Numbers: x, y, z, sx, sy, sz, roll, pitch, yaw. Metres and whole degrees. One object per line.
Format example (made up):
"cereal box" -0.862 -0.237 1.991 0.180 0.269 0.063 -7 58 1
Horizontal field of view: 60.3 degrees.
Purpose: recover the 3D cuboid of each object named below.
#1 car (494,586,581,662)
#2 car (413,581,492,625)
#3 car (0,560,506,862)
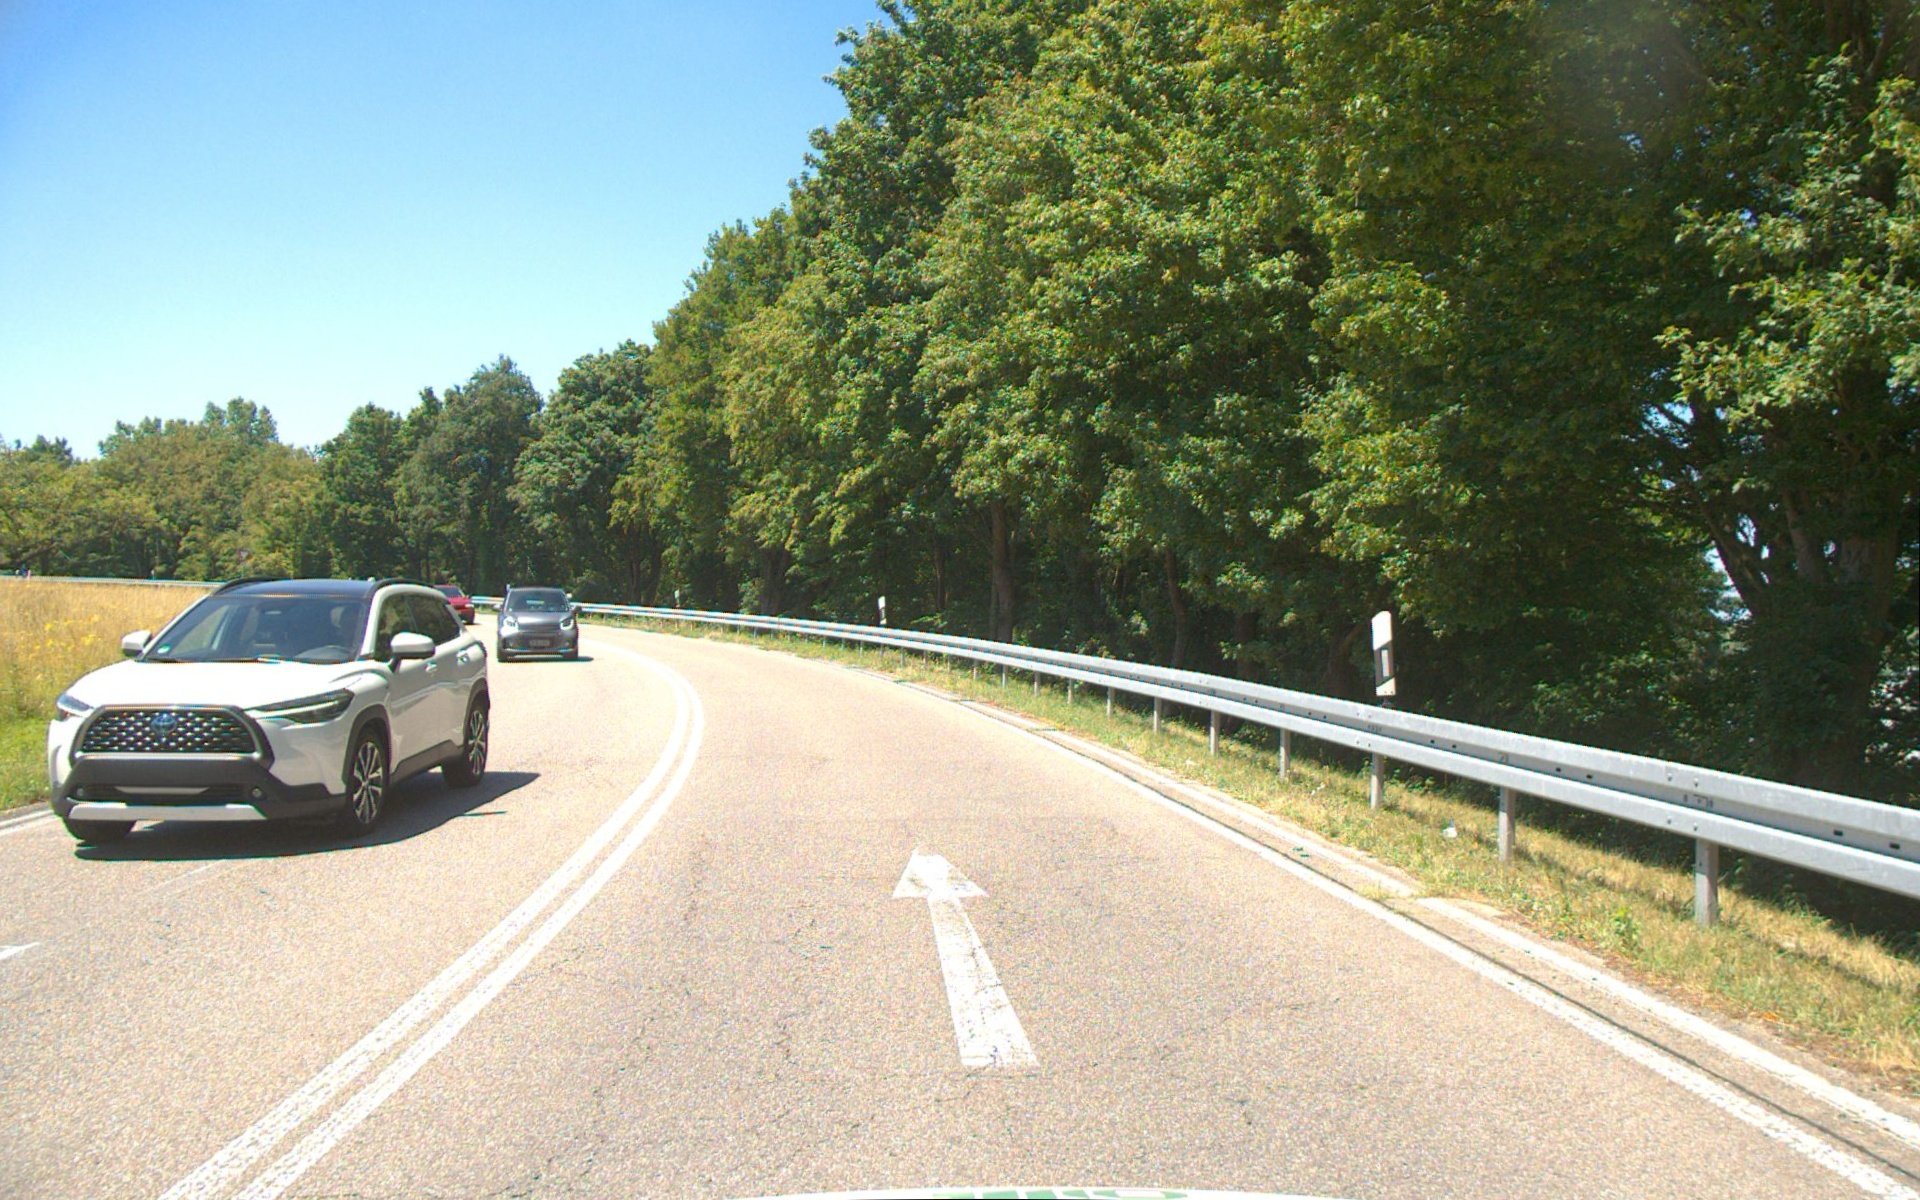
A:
"car" -9.196 0.476 35.888 1.706 1.533 4.055 -1 1 -16
"car" -19.004 0.134 61.833 1.804 1.483 4.352 -2 -1 -31
"car" -4.567 0.642 11.432 1.786 1.618 4.215 -2 -1 -2
